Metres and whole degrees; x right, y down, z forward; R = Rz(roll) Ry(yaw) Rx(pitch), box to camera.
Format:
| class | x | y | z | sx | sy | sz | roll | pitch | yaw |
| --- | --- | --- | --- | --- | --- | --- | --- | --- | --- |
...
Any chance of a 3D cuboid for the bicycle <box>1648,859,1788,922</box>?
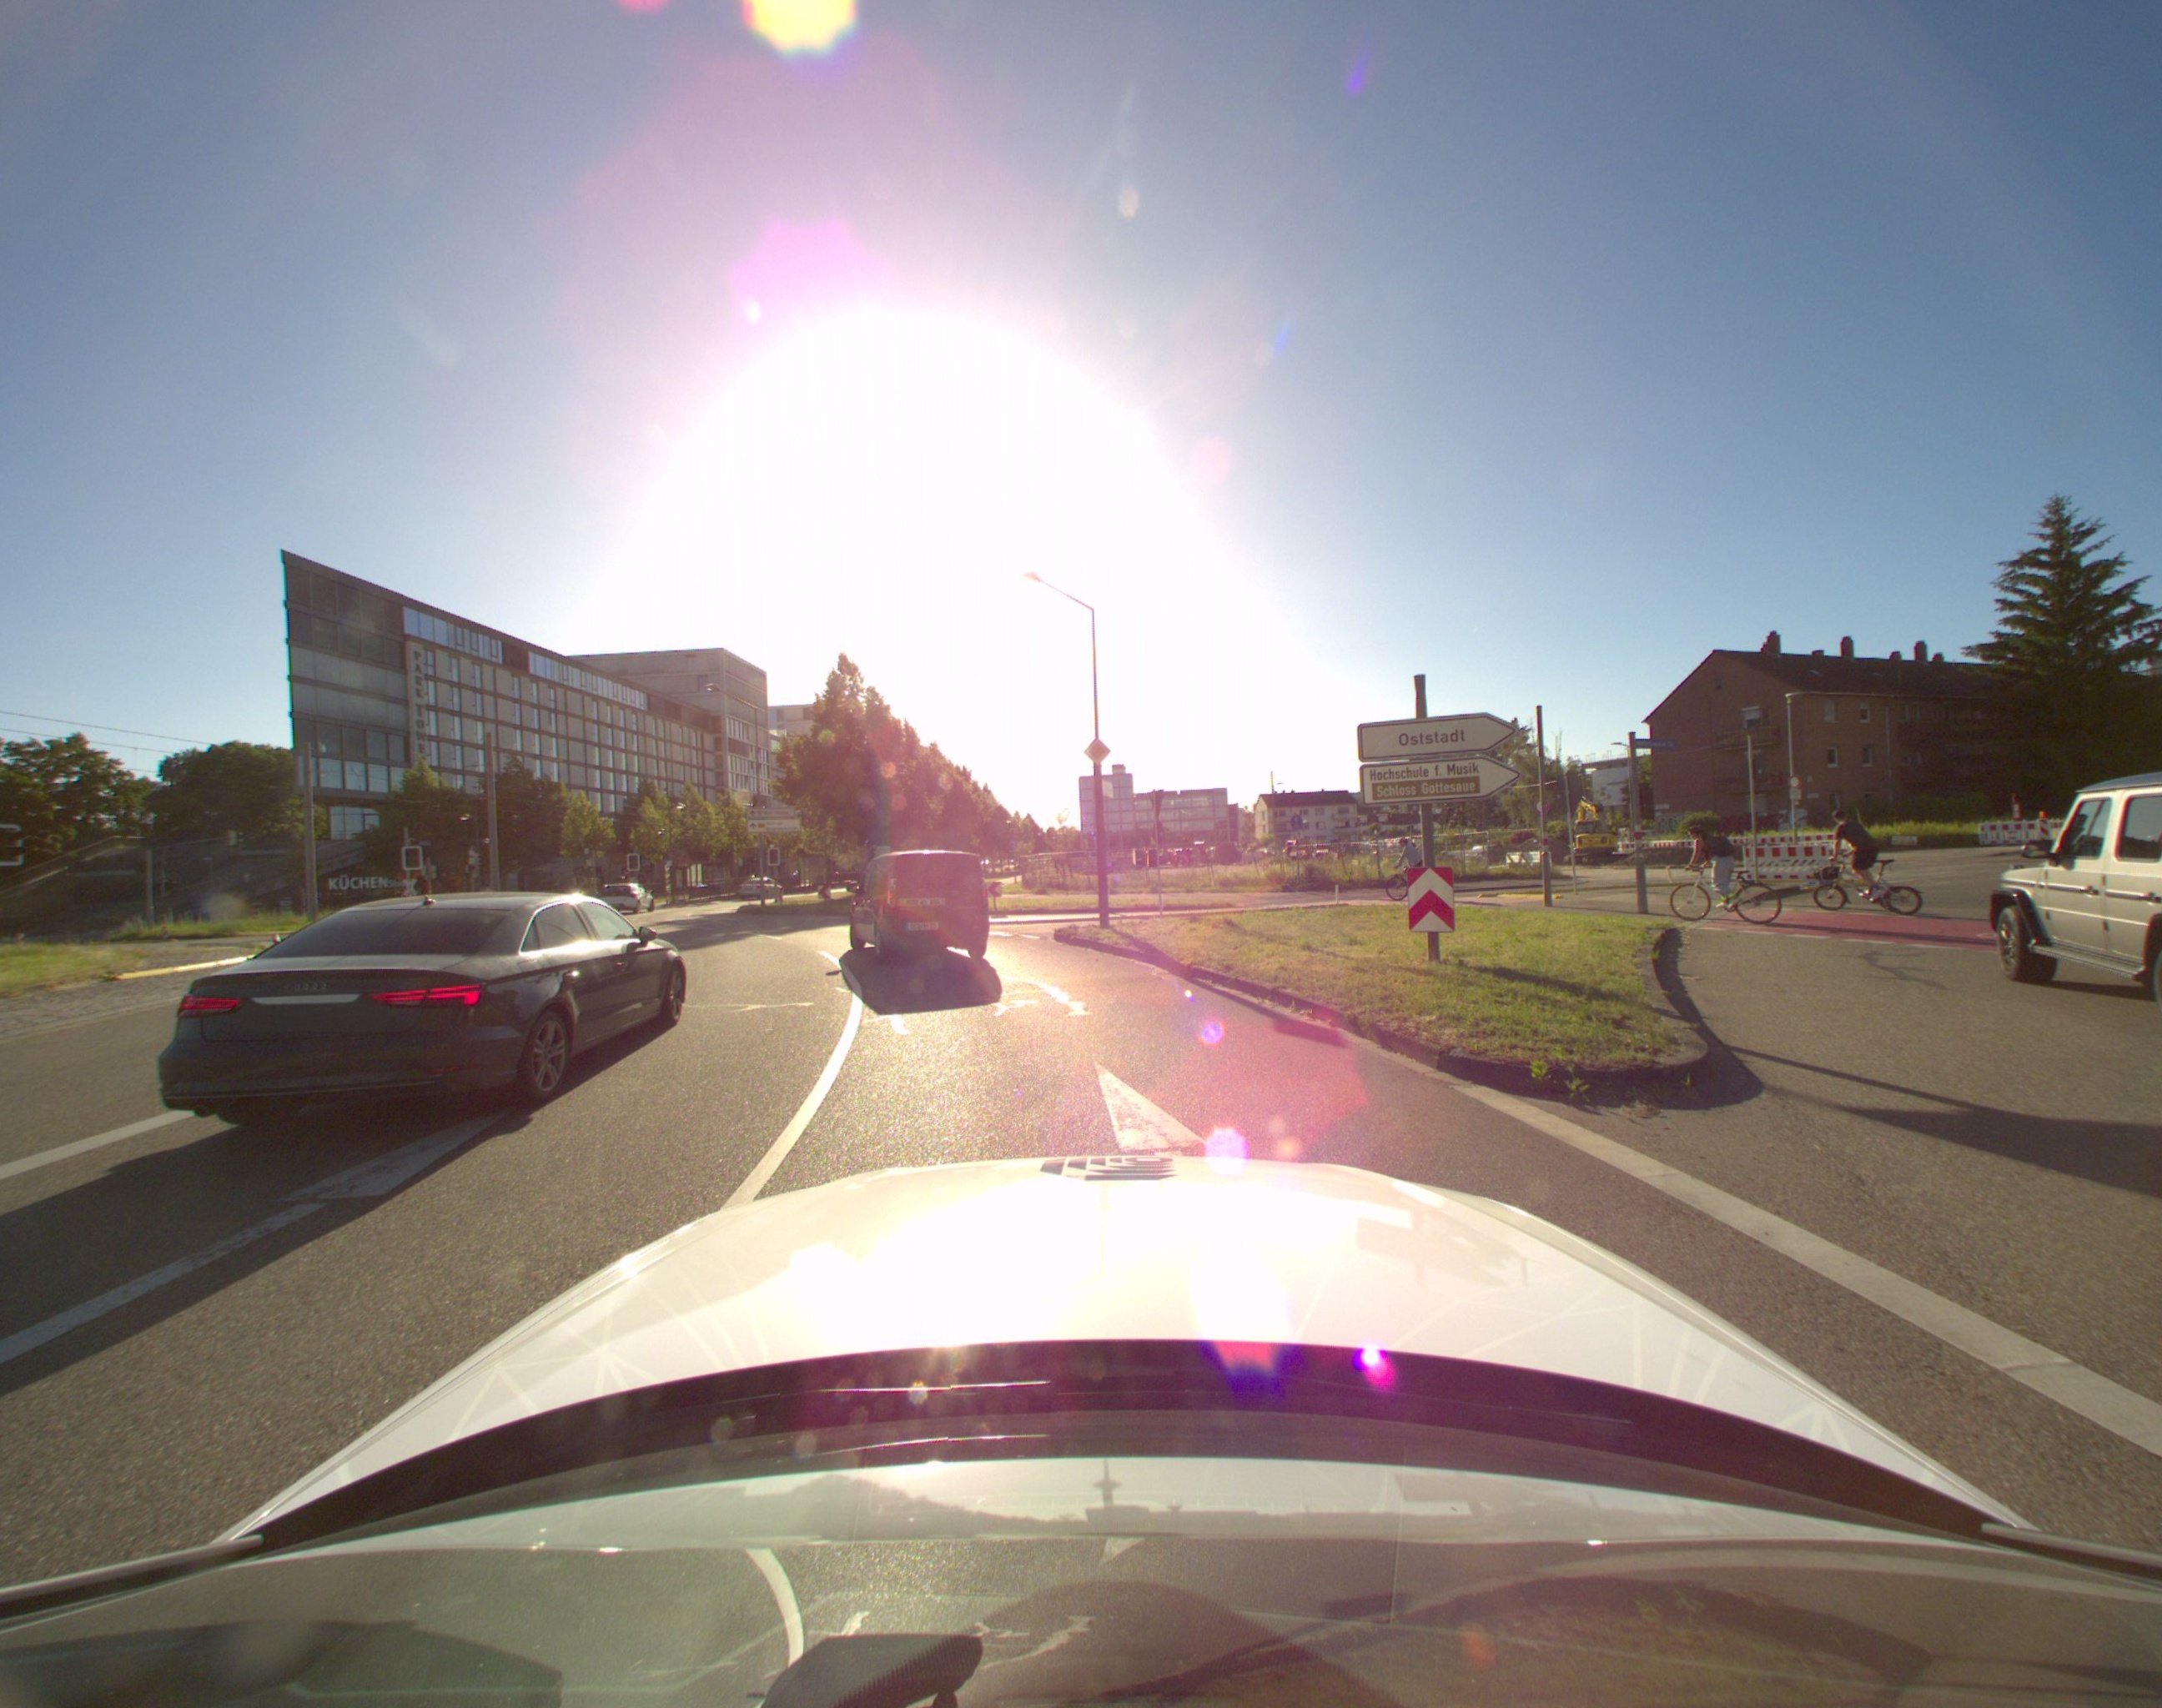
| class | x | y | z | sx | sy | sz | roll | pitch | yaw |
| --- | --- | --- | --- | --- | --- | --- | --- | --- | --- |
| bicycle | 11.092 | 0.604 | 14.253 | 0.662 | 1.027 | 1.807 | -1 | 0 | -29 |

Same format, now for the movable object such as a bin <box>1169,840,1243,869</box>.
| class | x | y | z | sx | sy | sz | roll | pitch | yaw |
| --- | --- | --- | --- | --- | --- | --- | --- | --- | --- |
| movable object such as a bin | 13.766 | 0.061 | 90.276 | 7.872 | 2.782 | 2.946 | -2 | 0 | 3 |

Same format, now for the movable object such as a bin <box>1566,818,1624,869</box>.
| class | x | y | z | sx | sy | sz | roll | pitch | yaw |
| --- | --- | --- | --- | --- | --- | --- | --- | --- | --- |
| movable object such as a bin | 29.371 | -0.594 | 46.655 | 2.396 | 2.773 | 4.024 | -1 | 0 | 27 |

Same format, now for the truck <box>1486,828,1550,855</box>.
| class | x | y | z | sx | sy | sz | roll | pitch | yaw |
| --- | --- | --- | --- | --- | --- | --- | --- | --- | --- |
| truck | 35.133 | -0.980 | 65.715 | 2.154 | 2.013 | 6.443 | -1 | 0 | 4 |

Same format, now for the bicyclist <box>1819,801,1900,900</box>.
| class | x | y | z | sx | sy | sz | roll | pitch | yaw |
| --- | --- | --- | --- | --- | --- | --- | --- | --- | --- |
| bicyclist | 14.096 | -0.055 | 14.763 | 0.655 | 1.730 | 0.807 | -2 | -1 | -22 |

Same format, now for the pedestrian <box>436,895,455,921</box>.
| class | x | y | z | sx | sy | sz | roll | pitch | yaw |
| --- | --- | --- | --- | --- | --- | --- | --- | --- | --- |
| pedestrian | -37.182 | 3.156 | 47.662 | 0.553 | 1.466 | 0.677 | -2 | -1 | -2 |

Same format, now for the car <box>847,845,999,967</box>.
| class | x | y | z | sx | sy | sz | roll | pitch | yaw |
| --- | --- | --- | --- | --- | --- | --- | --- | --- | --- |
| car | -2.907 | 0.822 | 14.304 | 1.811 | 1.813 | 3.779 | -1 | -1 | -24 |

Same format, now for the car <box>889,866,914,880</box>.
| class | x | y | z | sx | sy | sz | roll | pitch | yaw |
| --- | --- | --- | --- | --- | --- | --- | --- | --- | --- |
| car | -22.234 | 2.330 | 101.091 | 1.987 | 1.575 | 4.408 | -3 | 0 | 0 |

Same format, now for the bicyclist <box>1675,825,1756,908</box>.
| class | x | y | z | sx | sy | sz | roll | pitch | yaw |
| --- | --- | --- | --- | --- | --- | --- | --- | --- | --- |
| bicyclist | 11.081 | 0.209 | 14.240 | 0.662 | 1.385 | 0.926 | -1 | 0 | -29 |

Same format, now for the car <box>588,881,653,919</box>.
| class | x | y | z | sx | sy | sz | roll | pitch | yaw |
| --- | --- | --- | --- | --- | --- | --- | --- | --- | --- |
| car | -21.853 | 2.149 | 38.785 | 1.807 | 1.461 | 3.788 | -2 | 1 | -16 |

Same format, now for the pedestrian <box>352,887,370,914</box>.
| class | x | y | z | sx | sy | sz | roll | pitch | yaw |
| --- | --- | --- | --- | --- | --- | --- | --- | --- | --- |
| pedestrian | -57.148 | 3.678 | 64.625 | 0.635 | 2.013 | 0.834 | -2 | -1 | 2 |

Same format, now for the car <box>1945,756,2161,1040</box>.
| class | x | y | z | sx | sy | sz | roll | pitch | yaw |
| --- | --- | --- | --- | --- | --- | --- | --- | --- | --- |
| car | 8.913 | 0.246 | 6.267 | 1.977 | 1.897 | 4.783 | -2 | 0 | 33 |

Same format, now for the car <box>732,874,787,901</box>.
| class | x | y | z | sx | sy | sz | roll | pitch | yaw |
| --- | --- | --- | --- | --- | --- | --- | --- | --- | --- |
| car | -22.552 | 2.304 | 57.349 | 1.986 | 1.575 | 4.409 | -3 | 0 | 1 |

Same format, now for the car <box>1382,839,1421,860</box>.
| class | x | y | z | sx | sy | sz | roll | pitch | yaw |
| --- | --- | --- | --- | --- | --- | --- | --- | --- | --- |
| car | 32.111 | -0.411 | 81.743 | 1.989 | 2.013 | 4.494 | -1 | 0 | -3 |

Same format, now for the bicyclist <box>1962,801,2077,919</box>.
| class | x | y | z | sx | sy | sz | roll | pitch | yaw |
| --- | --- | --- | --- | --- | --- | --- | --- | --- | --- |
| bicyclist | 13.908 | 0.081 | 12.092 | 0.659 | 1.665 | 0.895 | -1 | 0 | -13 |

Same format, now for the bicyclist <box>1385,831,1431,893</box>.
| class | x | y | z | sx | sy | sz | roll | pitch | yaw |
| --- | --- | --- | --- | --- | --- | --- | --- | --- | --- |
| bicyclist | 9.292 | 0.232 | 23.150 | 0.745 | 1.680 | 0.845 | -5 | 2 | -32 |

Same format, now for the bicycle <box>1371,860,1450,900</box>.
| class | x | y | z | sx | sy | sz | roll | pitch | yaw |
| --- | --- | --- | --- | --- | --- | --- | --- | --- | --- |
| bicycle | 9.335 | 0.725 | 23.174 | 0.745 | 1.027 | 1.990 | -5 | 2 | -31 |

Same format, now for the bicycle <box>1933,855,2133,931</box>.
| class | x | y | z | sx | sy | sz | roll | pitch | yaw |
| --- | --- | --- | --- | --- | --- | --- | --- | --- | --- |
| bicycle | 13.939 | 0.529 | 12.009 | 0.659 | 1.027 | 1.816 | -1 | 0 | -12 |

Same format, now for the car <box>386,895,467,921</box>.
| class | x | y | z | sx | sy | sz | roll | pitch | yaw |
| --- | --- | --- | --- | --- | --- | --- | --- | --- | --- |
| car | -45.381 | 3.722 | 56.602 | 1.724 | 1.487 | 4.494 | -2 | -1 | 3 |

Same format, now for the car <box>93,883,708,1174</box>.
| class | x | y | z | sx | sy | sz | roll | pitch | yaw |
| --- | --- | --- | --- | --- | --- | --- | --- | --- | --- |
| car | -4.597 | 0.989 | 6.534 | 1.760 | 1.380 | 4.344 | -2 | -1 | -9 |

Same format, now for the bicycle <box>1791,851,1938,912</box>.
| class | x | y | z | sx | sy | sz | roll | pitch | yaw |
| --- | --- | --- | --- | --- | --- | --- | --- | --- | --- |
| bicycle | 14.130 | 0.472 | 14.750 | 0.660 | 1.027 | 1.811 | -1 | 0 | -21 |
